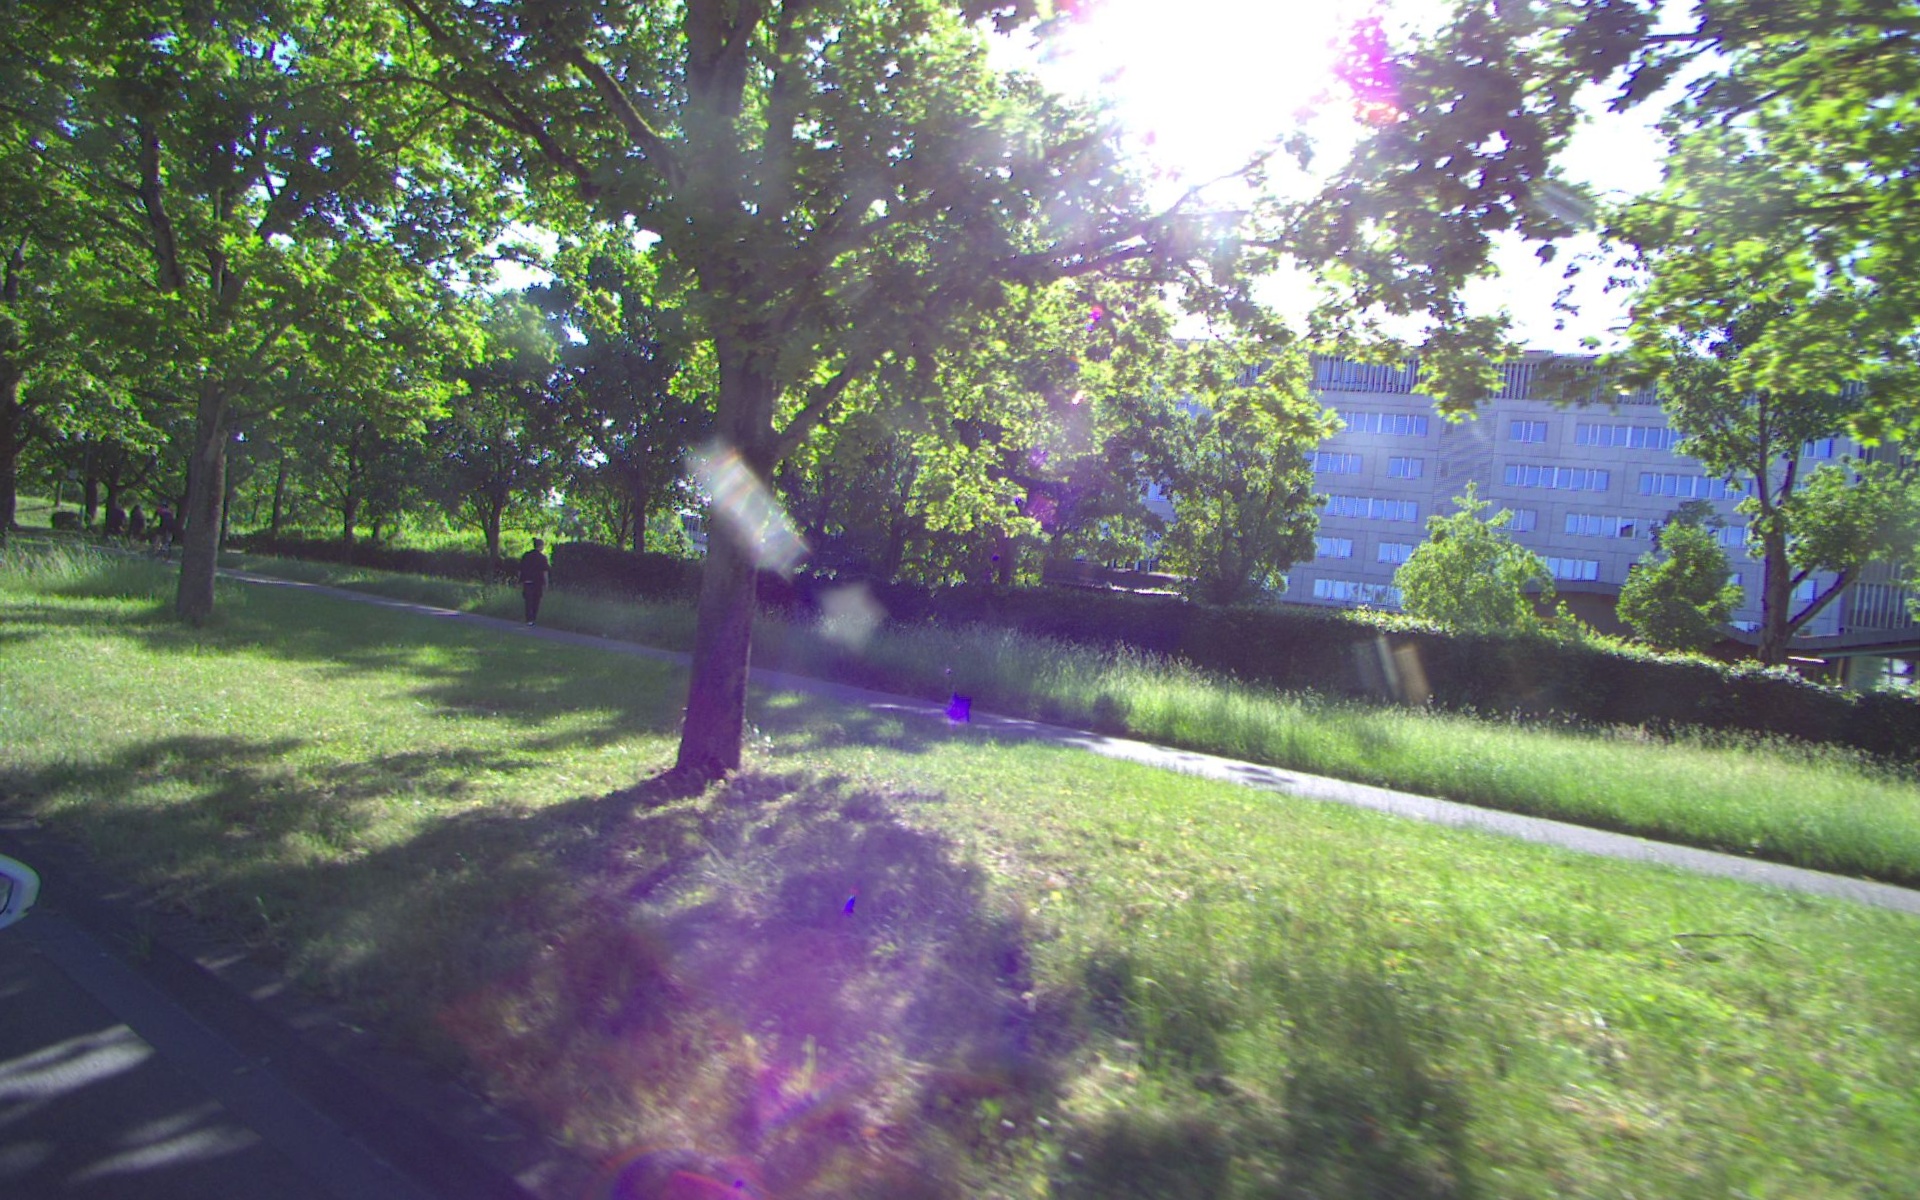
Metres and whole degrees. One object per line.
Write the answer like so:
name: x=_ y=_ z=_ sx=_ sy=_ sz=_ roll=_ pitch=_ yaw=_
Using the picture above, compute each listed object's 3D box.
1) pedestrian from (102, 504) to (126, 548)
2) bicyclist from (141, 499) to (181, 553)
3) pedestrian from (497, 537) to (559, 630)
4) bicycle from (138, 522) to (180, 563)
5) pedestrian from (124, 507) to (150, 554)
pedestrian: x=-32.772 y=-2.865 z=38.966 sx=0.545 sy=1.642 sz=0.834 roll=6 pitch=0 yaw=-42
bicyclist: x=-23.507 y=-2.181 z=29.605 sx=0.785 sy=1.468 sz=0.837 roll=6 pitch=0 yaw=-37
pedestrian: x=-9.000 y=-0.345 z=20.966 sx=0.781 sy=1.825 sz=0.716 roll=7 pitch=0 yaw=35
bicycle: x=-23.552 y=-1.690 z=29.601 sx=0.790 sy=1.060 sz=2.121 roll=6 pitch=-1 yaw=-36
pedestrian: x=-32.152 y=-2.709 z=39.300 sx=0.634 sy=1.712 sz=0.834 roll=6 pitch=0 yaw=-43
